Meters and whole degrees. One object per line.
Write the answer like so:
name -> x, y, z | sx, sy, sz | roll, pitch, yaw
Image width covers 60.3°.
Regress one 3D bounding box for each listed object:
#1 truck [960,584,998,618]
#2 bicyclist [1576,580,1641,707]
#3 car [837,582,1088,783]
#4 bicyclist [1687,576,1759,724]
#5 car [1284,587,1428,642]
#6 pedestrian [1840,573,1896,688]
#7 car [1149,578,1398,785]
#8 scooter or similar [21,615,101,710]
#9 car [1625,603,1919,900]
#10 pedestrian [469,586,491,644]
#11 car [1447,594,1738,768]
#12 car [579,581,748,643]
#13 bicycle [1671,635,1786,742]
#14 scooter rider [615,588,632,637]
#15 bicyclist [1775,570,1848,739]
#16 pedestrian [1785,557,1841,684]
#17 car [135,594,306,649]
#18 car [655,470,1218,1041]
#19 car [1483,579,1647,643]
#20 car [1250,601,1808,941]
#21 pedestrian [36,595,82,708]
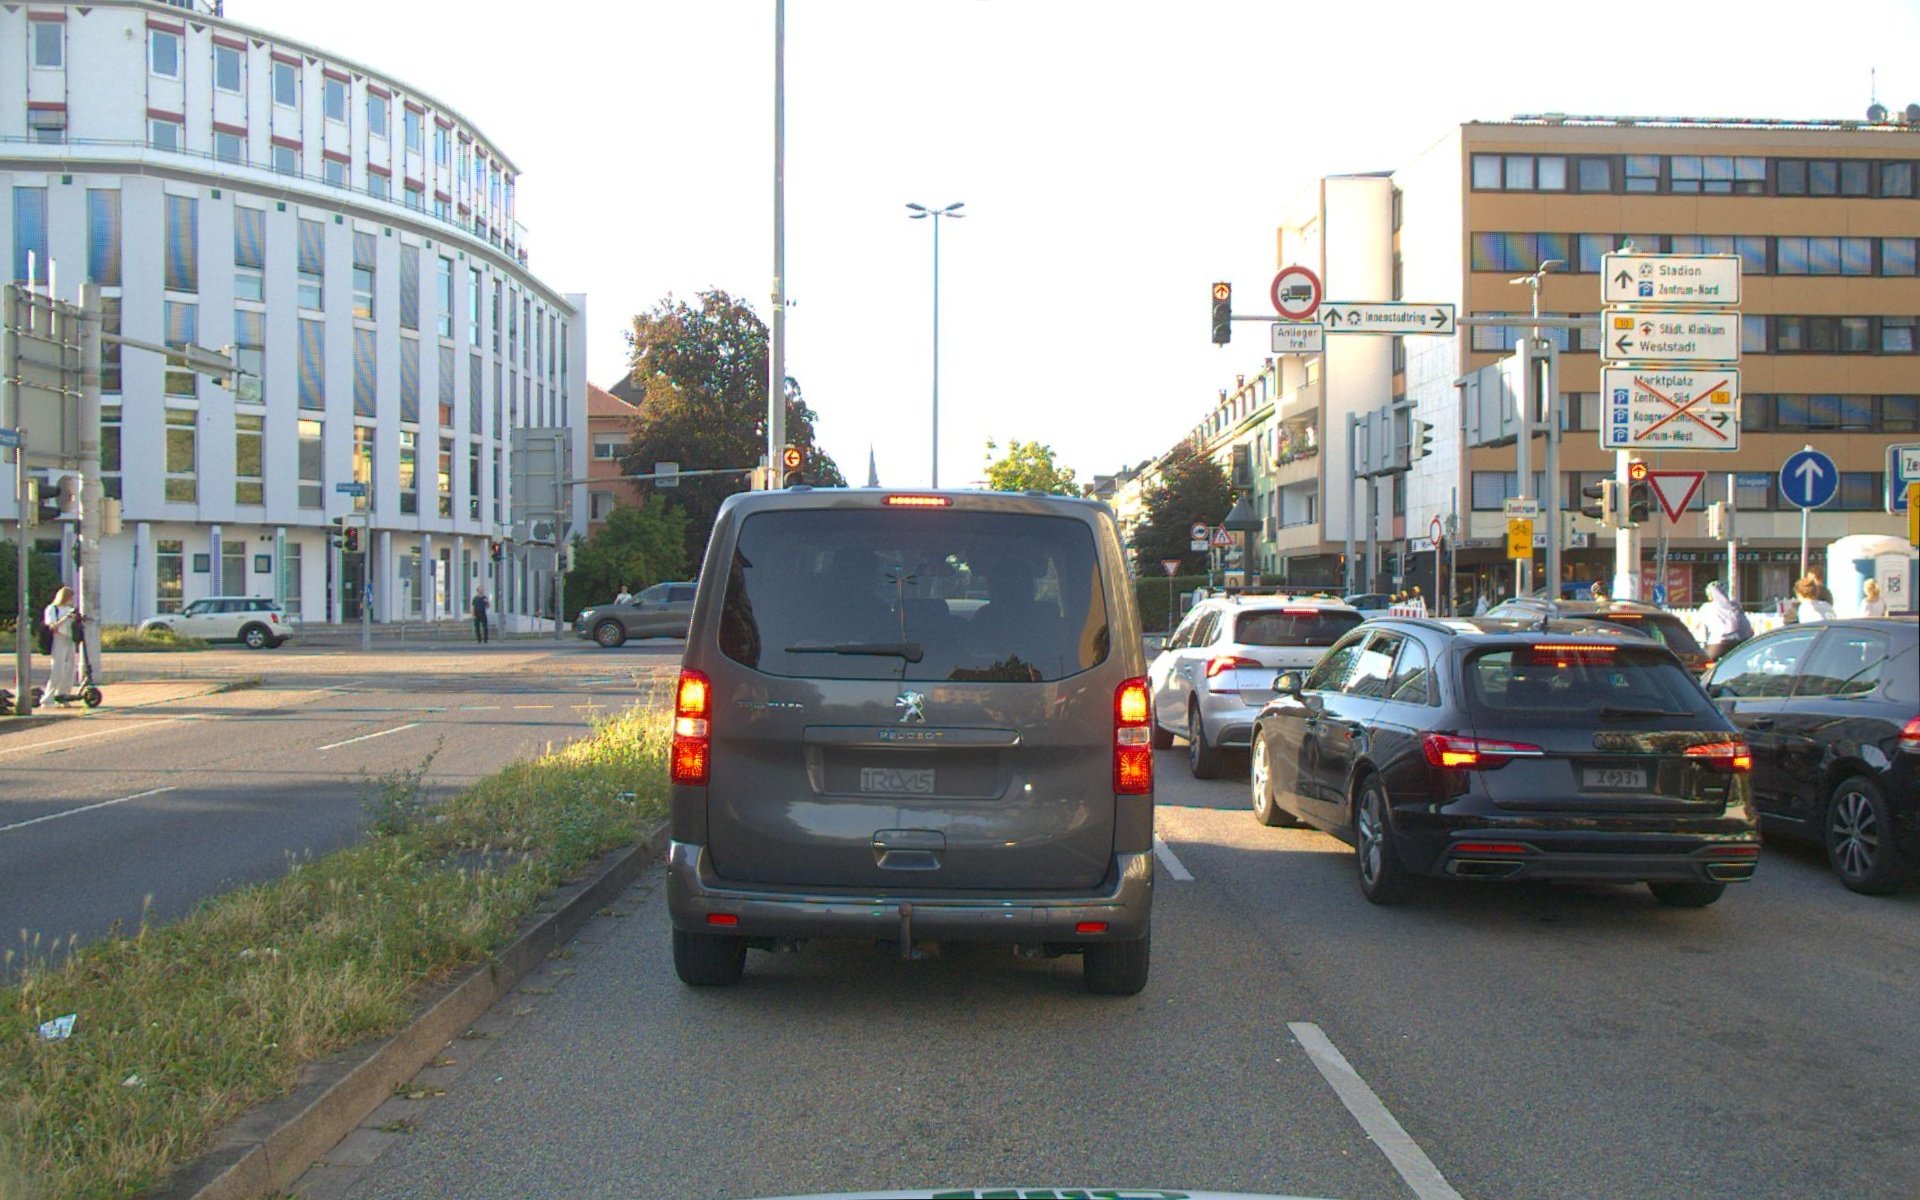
truck -> 1.237, 0.062, 107.540 | 2.083, 2.123, 4.634 | 0, 0, 5
bicyclist -> 8.074, 0.536, 20.610 | 0.503, 1.552, 0.725 | 0, 0, -1
car -> -0.007, 0.631, 14.905 | 1.953, 1.557, 3.999 | 0, 0, -1
bicyclist -> 8.146, 0.519, 17.676 | 0.432, 1.552, 0.725 | 0, 0, -1
car -> 11.128, 0.391, 46.564 | 3.600, 1.412, 1.696 | -1, 0, -3
pedestrian -> 13.574, 0.447, 24.732 | 0.593, 1.700, 0.451 | 0, 0, -21
car -> 2.738, 0.649, 15.197 | 1.498, 1.641, 3.744 | 1, 0, -1
scooter or similar -> -12.216, 0.841, 22.497 | 0.877, 1.255, 0.370 | 0, 0, -12
car -> 5.627, 0.786, 10.044 | 1.600, 1.474, 3.744 | 1, 0, -1
pedestrian -> -14.793, 0.455, 50.971 | 0.615, 1.752, 0.669 | 0, 0, -15
car -> 5.878, 0.680, 15.745 | 1.474, 1.474, 3.304 | 0, 0, -1
car -> -7.797, 0.302, 43.842 | 4.255, 1.576, 1.785 | 0, 0, -6
bicycle -> 8.141, 0.911, 17.594 | 0.329, 1.025, 1.855 | 0, 0, -1
scooter rider -> -11.878, 0.448, 58.333 | 0.471, 1.727, 0.636 | 0, 0, -1
bicyclist -> 7.983, 0.502, 15.515 | 0.432, 1.552, 0.482 | 0, 0, -1
pedestrian -> 12.635, 0.298, 24.508 | 0.560, 1.866, 0.485 | 0, 0, -16
car -> -20.381, 0.575, 45.713 | 3.911, 1.445, 1.785 | 0, 0, -7
car -> -0.109, 0.518, 7.858 | 1.868, 1.896, 4.525 | 1, 0, -1
car -> 17.995, 0.311, 49.302 | 4.132, 1.849, 1.999 | 0, 0, -4
car -> 2.886, 0.759, 9.410 | 1.647, 1.446, 4.213 | 1, 0, -1
pedestrian -> -12.341, 0.699, 22.658 | 0.466, 1.532, 0.334 | 0, 0, -13
